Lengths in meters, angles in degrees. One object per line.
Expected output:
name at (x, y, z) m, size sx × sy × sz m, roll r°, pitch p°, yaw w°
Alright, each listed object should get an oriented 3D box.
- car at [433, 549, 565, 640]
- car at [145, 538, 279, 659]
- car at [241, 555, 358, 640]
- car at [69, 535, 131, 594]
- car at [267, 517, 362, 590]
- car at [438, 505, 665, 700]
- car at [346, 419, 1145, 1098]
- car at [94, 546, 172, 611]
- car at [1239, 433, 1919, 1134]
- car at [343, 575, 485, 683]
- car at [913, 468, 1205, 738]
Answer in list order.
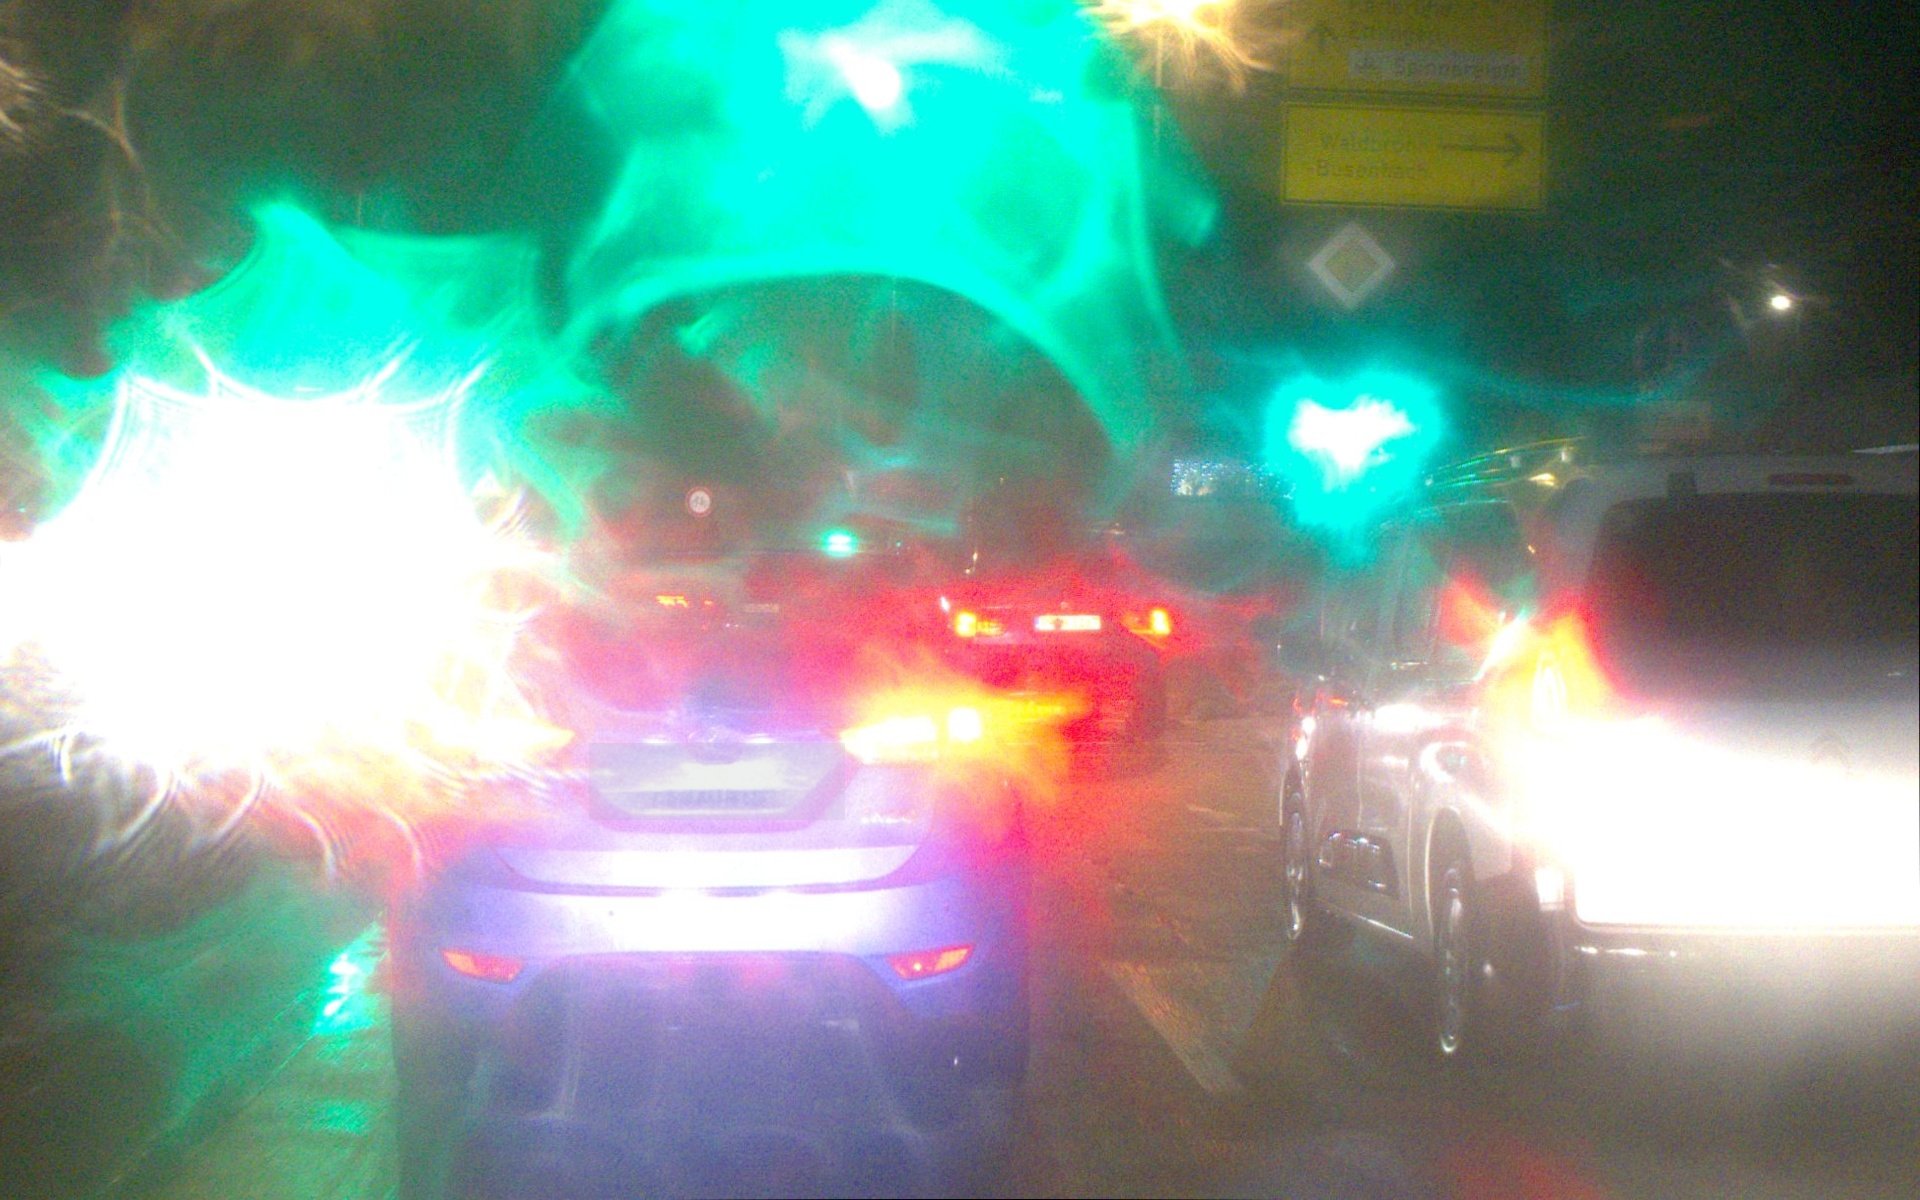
car at (-8.999, -0.129, 66.827) m, size 1.993 × 1.664 × 4.001 m, roll 1°, pitch 1°, yaw -15°
car at (-12.828, -0.059, 58.785) m, size 2.014 × 1.880 × 4.453 m, roll 1°, pitch 1°, yaw -15°
car at (-14.893, -0.082, 77.385) m, size 1.993 × 1.818 × 4.001 m, roll 1°, pitch 1°, yaw -19°
car at (-30.093, -1.241, 120.248) m, size 1.993 × 2.007 × 4.001 m, roll 1°, pitch 1°, yaw -15°
car at (-16.596, -1.196, 88.278) m, size 1.993 × 1.814 × 4.001 m, roll 1°, pitch 1°, yaw -16°
car at (-4.561, 0.000, 37.912) m, size 1.993 × 2.007 × 4.001 m, roll 1°, pitch 1°, yaw -13°
car at (-0.721, 0.389, 11.048) m, size 2.014 × 1.711 × 4.452 m, roll 1°, pitch 1°, yaw -5°
car at (-24.368, -0.652, 101.209) m, size 1.993 × 1.818 × 4.001 m, roll 1°, pitch 1°, yaw -17°
car at (2.185, 0.478, 11.401) m, size 1.851 × 1.858 × 4.341 m, roll 1°, pitch 1°, yaw -4°
car at (-9.345, 0.466, 58.631) m, size 1.993 × 1.726 × 4.001 m, roll 1°, pitch 1°, yaw -15°
car at (0.736, 0.002, 28.368) m, size 1.968 × 2.040 × 4.001 m, roll 1°, pitch 1°, yaw -4°
